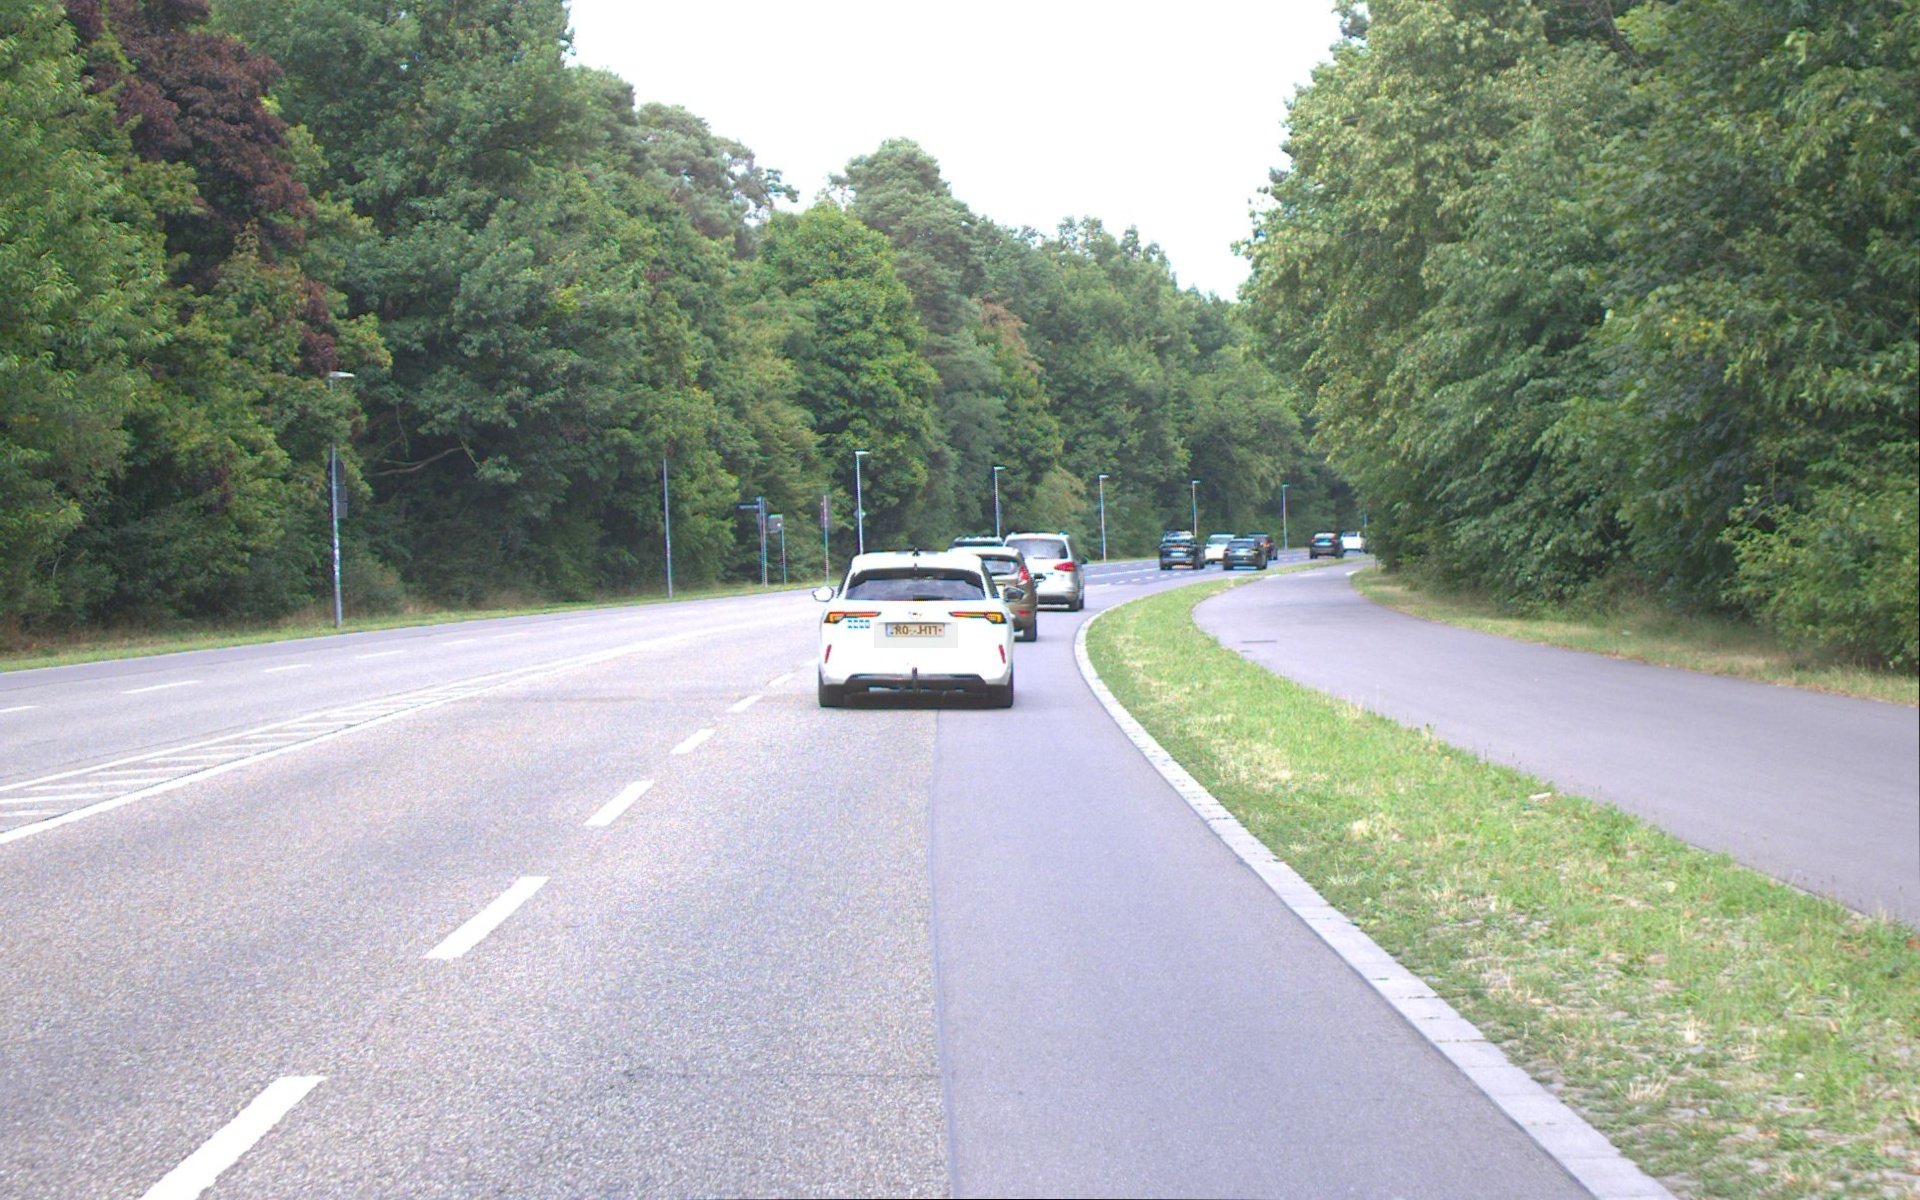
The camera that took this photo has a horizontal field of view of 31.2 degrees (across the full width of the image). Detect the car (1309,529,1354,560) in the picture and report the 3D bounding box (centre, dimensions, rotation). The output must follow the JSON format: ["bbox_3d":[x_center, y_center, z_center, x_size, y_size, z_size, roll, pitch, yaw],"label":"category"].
[{"bbox_3d":[22.259,-3.306,205.873,1.995,1.777,3.997,1,0,16],"label":"car"}]

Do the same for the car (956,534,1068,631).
[{"bbox_3d":[0.794,-0.278,53.464,1.635,1.415,4.000,1,0,0],"label":"car"}]

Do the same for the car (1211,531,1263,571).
[{"bbox_3d":[12.959,-2.287,160.822,1.994,1.777,3.998,1,0,10],"label":"car"}]

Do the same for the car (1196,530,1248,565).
[{"bbox_3d":[13.819,-2.752,181.170,1.995,1.777,3.997,1,0,15],"label":"car"}]

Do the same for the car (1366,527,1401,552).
[{"bbox_3d":[28.895,-4.119,234.384,1.994,1.700,3.998,0,1,12],"label":"car"}]

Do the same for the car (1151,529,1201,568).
[{"bbox_3d":[10.318,-2.458,163.887,1.994,1.777,3.998,1,0,9],"label":"car"}]

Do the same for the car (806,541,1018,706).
[{"bbox_3d":[-0.450,0.196,32.505,1.836,1.405,4.491,1,0,-1],"label":"car"}]

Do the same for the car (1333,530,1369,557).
[{"bbox_3d":[28.003,-4.041,245.999,1.890,1.809,3.997,1,0,16],"label":"car"}]

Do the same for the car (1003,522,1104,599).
[{"bbox_3d":[2.081,-0.844,75.271,1.994,1.601,3.999,1,0,4],"label":"car"}]
